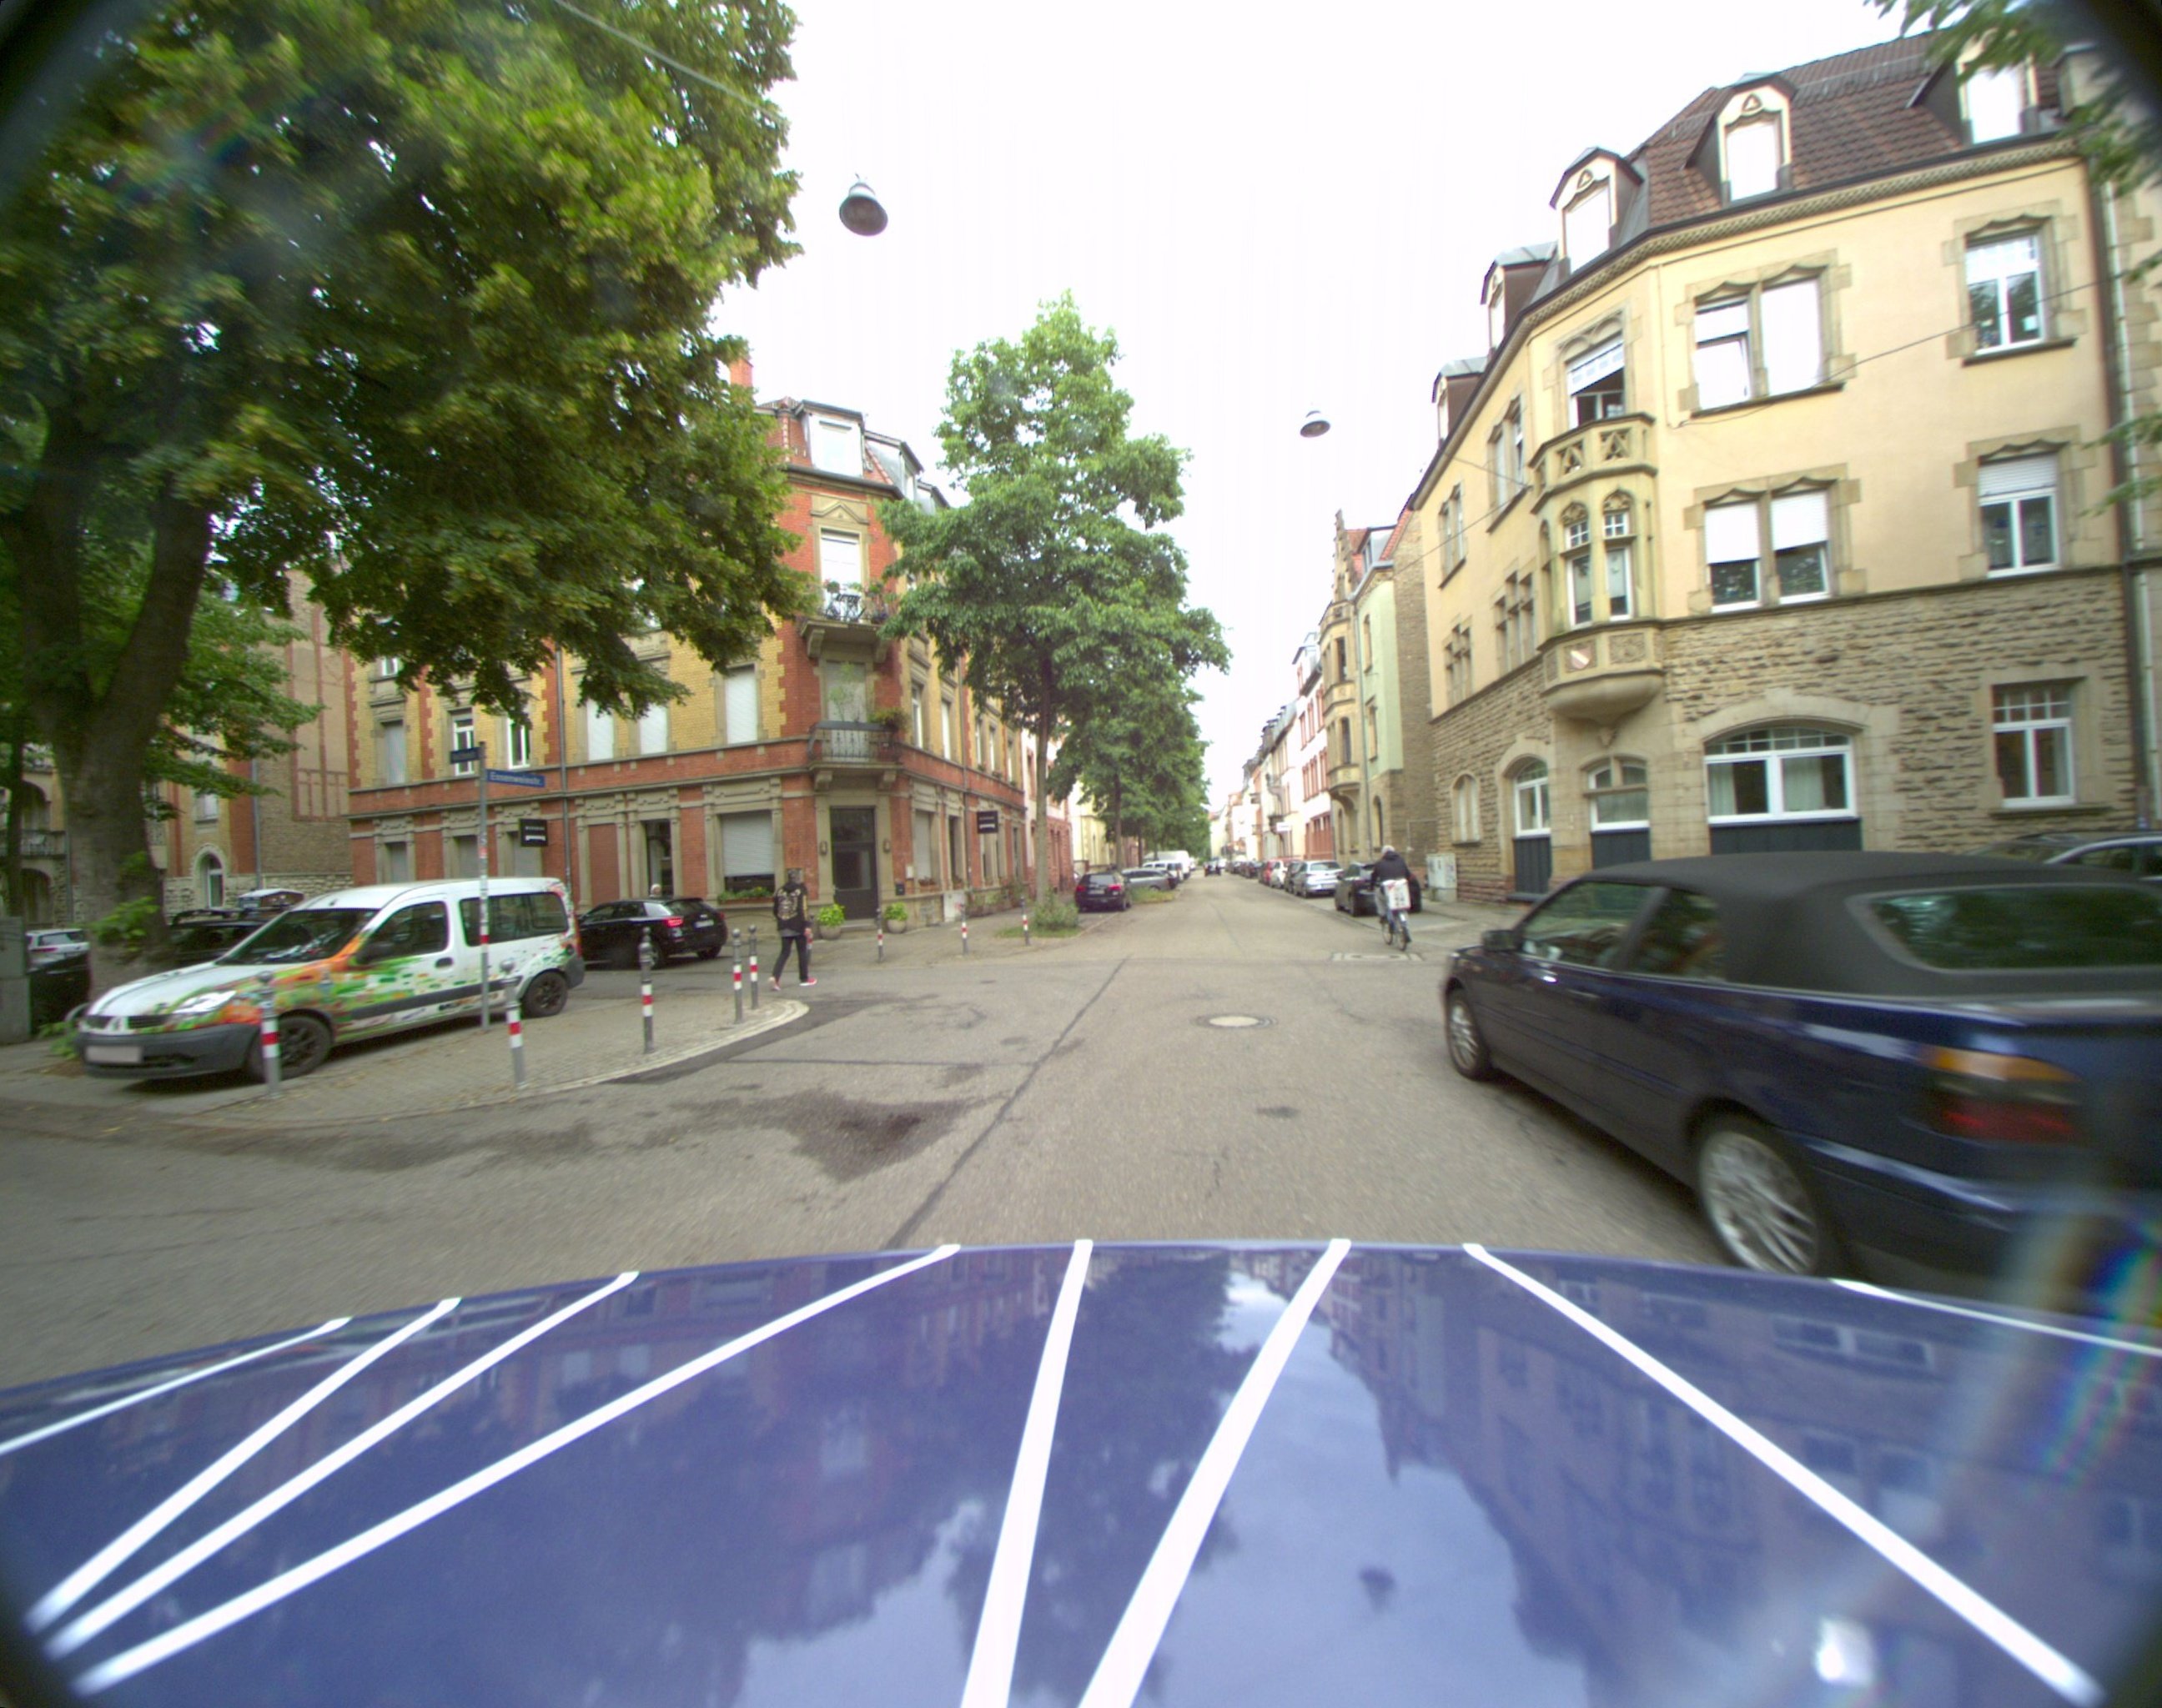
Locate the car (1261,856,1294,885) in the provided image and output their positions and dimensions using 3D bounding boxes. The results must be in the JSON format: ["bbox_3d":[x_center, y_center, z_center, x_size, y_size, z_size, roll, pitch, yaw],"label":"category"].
[{"bbox_3d":[11.412,0.921,44.283,1.468,1.521,3.571,-5,-1,9],"label":"car"}]

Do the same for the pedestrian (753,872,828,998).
[{"bbox_3d":[-4.282,1.182,11.213,0.780,1.786,0.510,-4,0,11],"label":"pedestrian"}]

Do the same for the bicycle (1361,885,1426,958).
[{"bbox_3d":[5.238,1.105,12.833,0.635,1.087,1.801,-2,-1,11],"label":"bicycle"}]

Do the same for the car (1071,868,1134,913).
[{"bbox_3d":[0.881,1.307,28.480,1.767,1.477,4.483,-1,0,9],"label":"car"}]

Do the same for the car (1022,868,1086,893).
[{"bbox_3d":[-1.804,1.800,51.140,3.994,1.445,1.610,-3,0,8],"label":"car"}]

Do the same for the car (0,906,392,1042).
[{"bbox_3d":[-13.519,1.741,11.670,3.955,1.571,1.683,-3,-1,-19],"label":"car"}]

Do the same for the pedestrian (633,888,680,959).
[{"bbox_3d":[-10.500,1.706,18.798,0.747,1.696,0.563,-3,0,20],"label":"pedestrian"}]

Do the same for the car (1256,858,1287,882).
[{"bbox_3d":[12.120,1.004,48.523,1.468,1.408,3.921,-5,-1,9],"label":"car"}]

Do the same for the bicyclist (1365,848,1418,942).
[{"bbox_3d":[5.216,0.674,12.801,0.649,1.529,0.677,-2,0,11],"label":"bicyclist"}]

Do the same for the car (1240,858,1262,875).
[{"bbox_3d":[15.377,1.100,68.851,1.658,1.374,3.474,-5,-1,9],"label":"car"}]

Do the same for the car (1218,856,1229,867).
[{"bbox_3d":[27.798,1.429,148.215,2.051,2.071,3.814,-5,-1,10],"label":"car"}]

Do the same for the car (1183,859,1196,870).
[{"bbox_3d":[19.221,1.819,134.535,1.997,1.739,4.004,-4,-1,11],"label":"car"}]

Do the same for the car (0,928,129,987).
[{"bbox_3d":[-32.313,3.229,23.733,4.265,1.487,1.847,-4,2,20],"label":"car"}]

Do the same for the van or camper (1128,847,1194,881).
[{"bbox_3d":[6.762,0.817,64.216,5.074,2.575,2.070,-3,0,-21],"label":"van or camper"}]

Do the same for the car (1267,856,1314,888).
[{"bbox_3d":[10.969,0.918,40.064,1.670,1.502,3.555,-4,-1,5],"label":"car"}]

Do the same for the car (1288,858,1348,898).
[{"bbox_3d":[9.460,0.932,30.562,1.592,1.425,3.812,-5,-1,8],"label":"car"}]

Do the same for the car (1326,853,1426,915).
[{"bbox_3d":[7.985,0.776,20.914,1.730,1.425,3.885,-5,-1,10],"label":"car"}]

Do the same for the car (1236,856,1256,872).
[{"bbox_3d":[16.314,1.017,75.234,1.609,1.463,3.345,-3,0,8],"label":"car"}]

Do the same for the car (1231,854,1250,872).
[{"bbox_3d":[17.521,0.979,83.472,1.842,1.848,4.003,-3,-1,11],"label":"car"}]

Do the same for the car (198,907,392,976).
[{"bbox_3d":[-21.481,2.394,20.803,4.323,1.525,2.002,-4,2,20],"label":"car"}]

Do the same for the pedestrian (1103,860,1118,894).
[{"bbox_3d":[1.519,1.184,39.065,0.598,1.723,0.664,-3,0,8],"label":"pedestrian"}]

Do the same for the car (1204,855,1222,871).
[{"bbox_3d":[14.768,1.035,84.874,1.812,1.620,4.211,-3,0,10],"label":"car"}]

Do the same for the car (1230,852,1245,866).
[{"bbox_3d":[18.392,0.590,89.377,1.456,1.401,3.814,-5,-1,10],"label":"car"}]

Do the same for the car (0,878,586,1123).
[{"bbox_3d":[-7.731,1.261,8.099,1.773,1.808,4.003,-3,-1,10],"label":"car"}]

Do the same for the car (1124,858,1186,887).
[{"bbox_3d":[5.296,1.308,53.978,3.991,1.800,1.723,-3,0,20],"label":"car"}]

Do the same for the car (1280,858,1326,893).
[{"bbox_3d":[10.178,0.945,35.054,1.520,1.425,3.458,-5,-1,9],"label":"car"}]

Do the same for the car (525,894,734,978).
[{"bbox_3d":[-9.864,1.781,16.670,3.827,1.531,1.662,-3,1,16],"label":"car"}]

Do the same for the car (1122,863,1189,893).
[{"bbox_3d":[4.370,1.400,44.886,3.470,1.553,1.785,-3,-1,-13],"label":"car"}]

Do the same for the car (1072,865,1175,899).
[{"bbox_3d":[1.970,1.267,35.334,4.451,1.419,1.755,-1,0,-25],"label":"car"}]

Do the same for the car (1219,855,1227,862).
[{"bbox_3d":[30.754,1.043,164.659,1.456,1.401,3.814,-5,-1,10],"label":"car"}]

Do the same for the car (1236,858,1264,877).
[{"bbox_3d":[13.513,1.063,60.954,1.903,1.382,4.003,-4,-1,9],"label":"car"}]

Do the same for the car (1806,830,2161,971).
[{"bbox_3d":[12.369,0.558,9.660,4.277,1.459,1.663,-3,3,16],"label":"car"}]

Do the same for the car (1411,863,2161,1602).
[{"bbox_3d":[3.057,0.834,3.463,1.712,1.405,3.853,-3,1,6],"label":"car"}]
